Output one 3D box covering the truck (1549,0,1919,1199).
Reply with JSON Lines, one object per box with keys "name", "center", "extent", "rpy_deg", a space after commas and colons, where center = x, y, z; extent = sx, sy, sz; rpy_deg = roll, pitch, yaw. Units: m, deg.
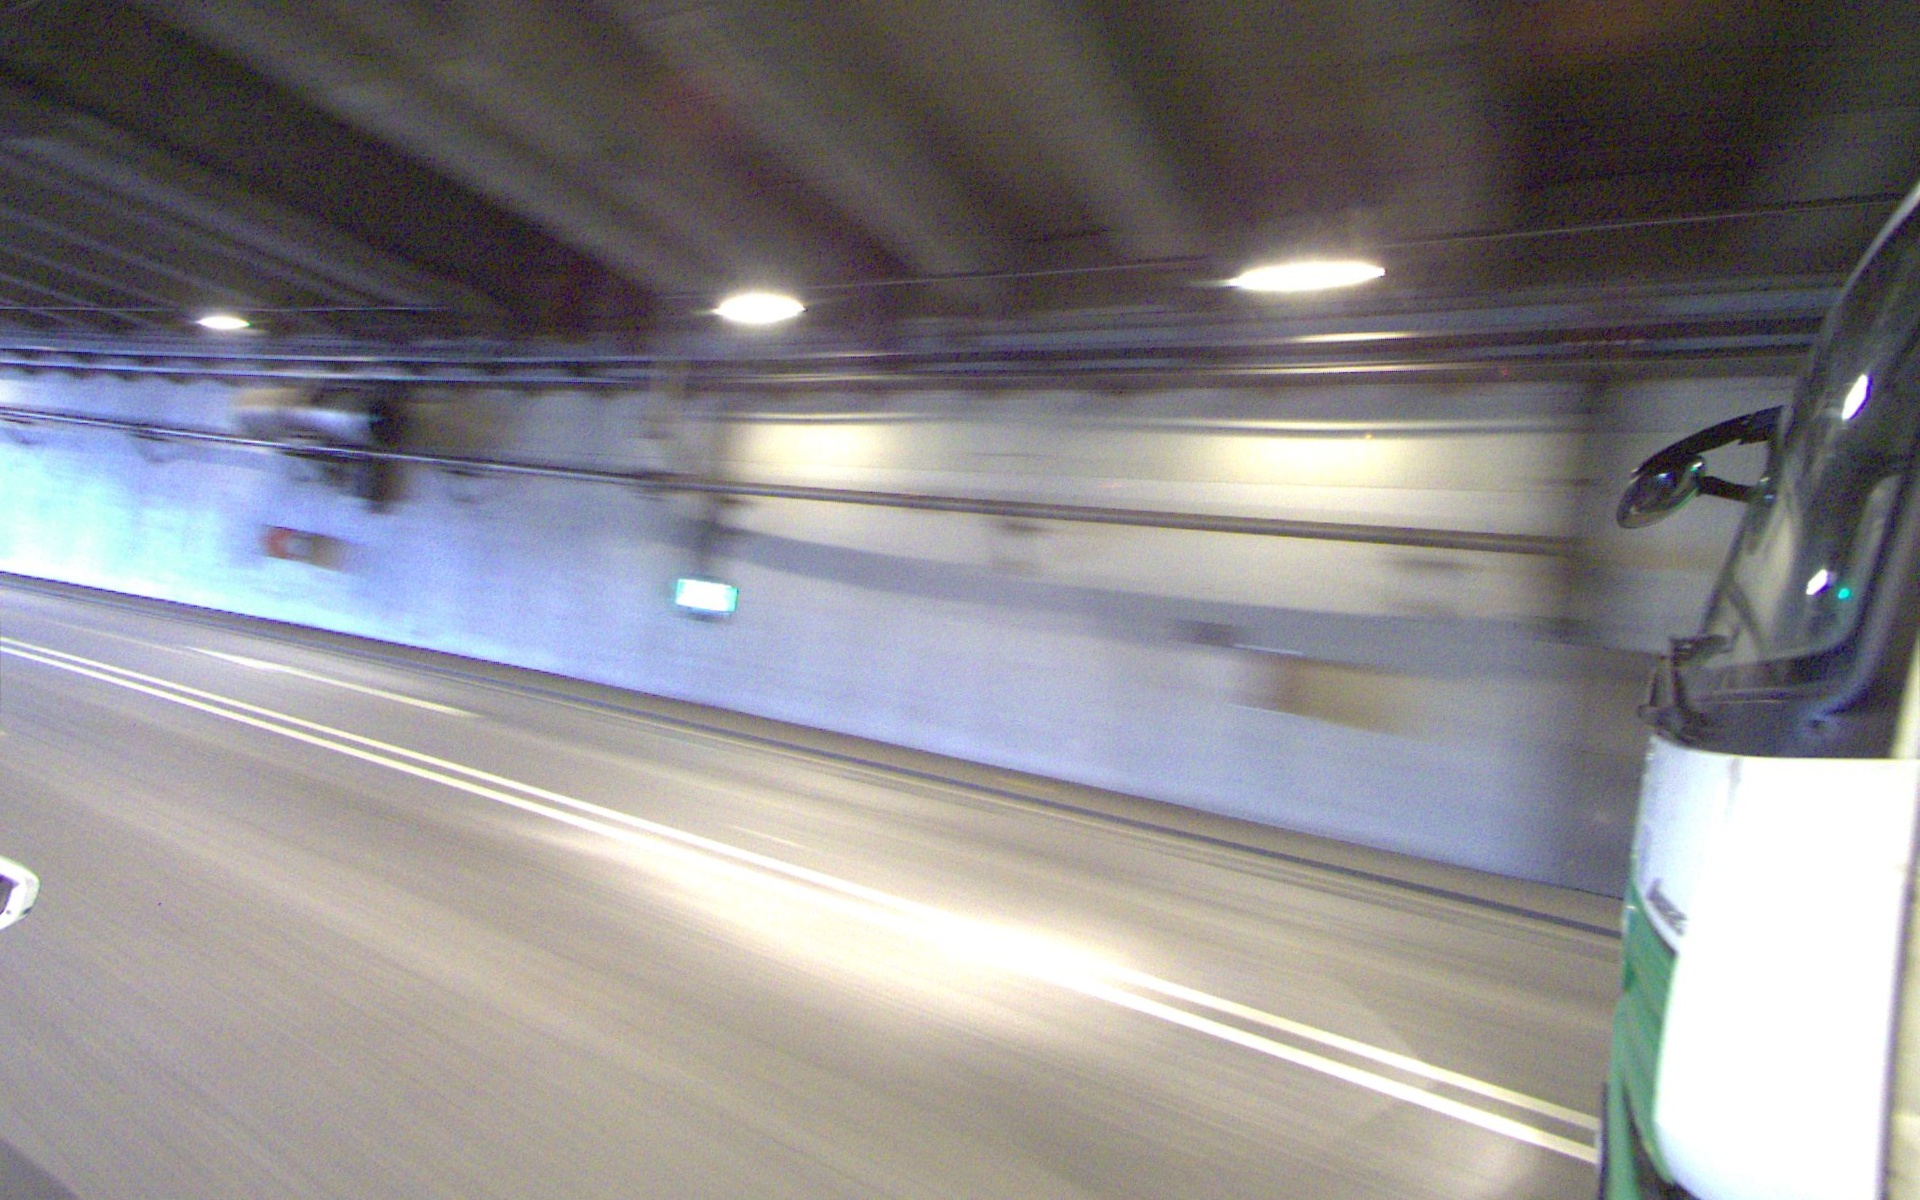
{"name": "truck", "center": [4.454, 0.377, 0.142], "extent": [7.294, 3.275, 2.635], "rpy_deg": [6, -2, 33]}
